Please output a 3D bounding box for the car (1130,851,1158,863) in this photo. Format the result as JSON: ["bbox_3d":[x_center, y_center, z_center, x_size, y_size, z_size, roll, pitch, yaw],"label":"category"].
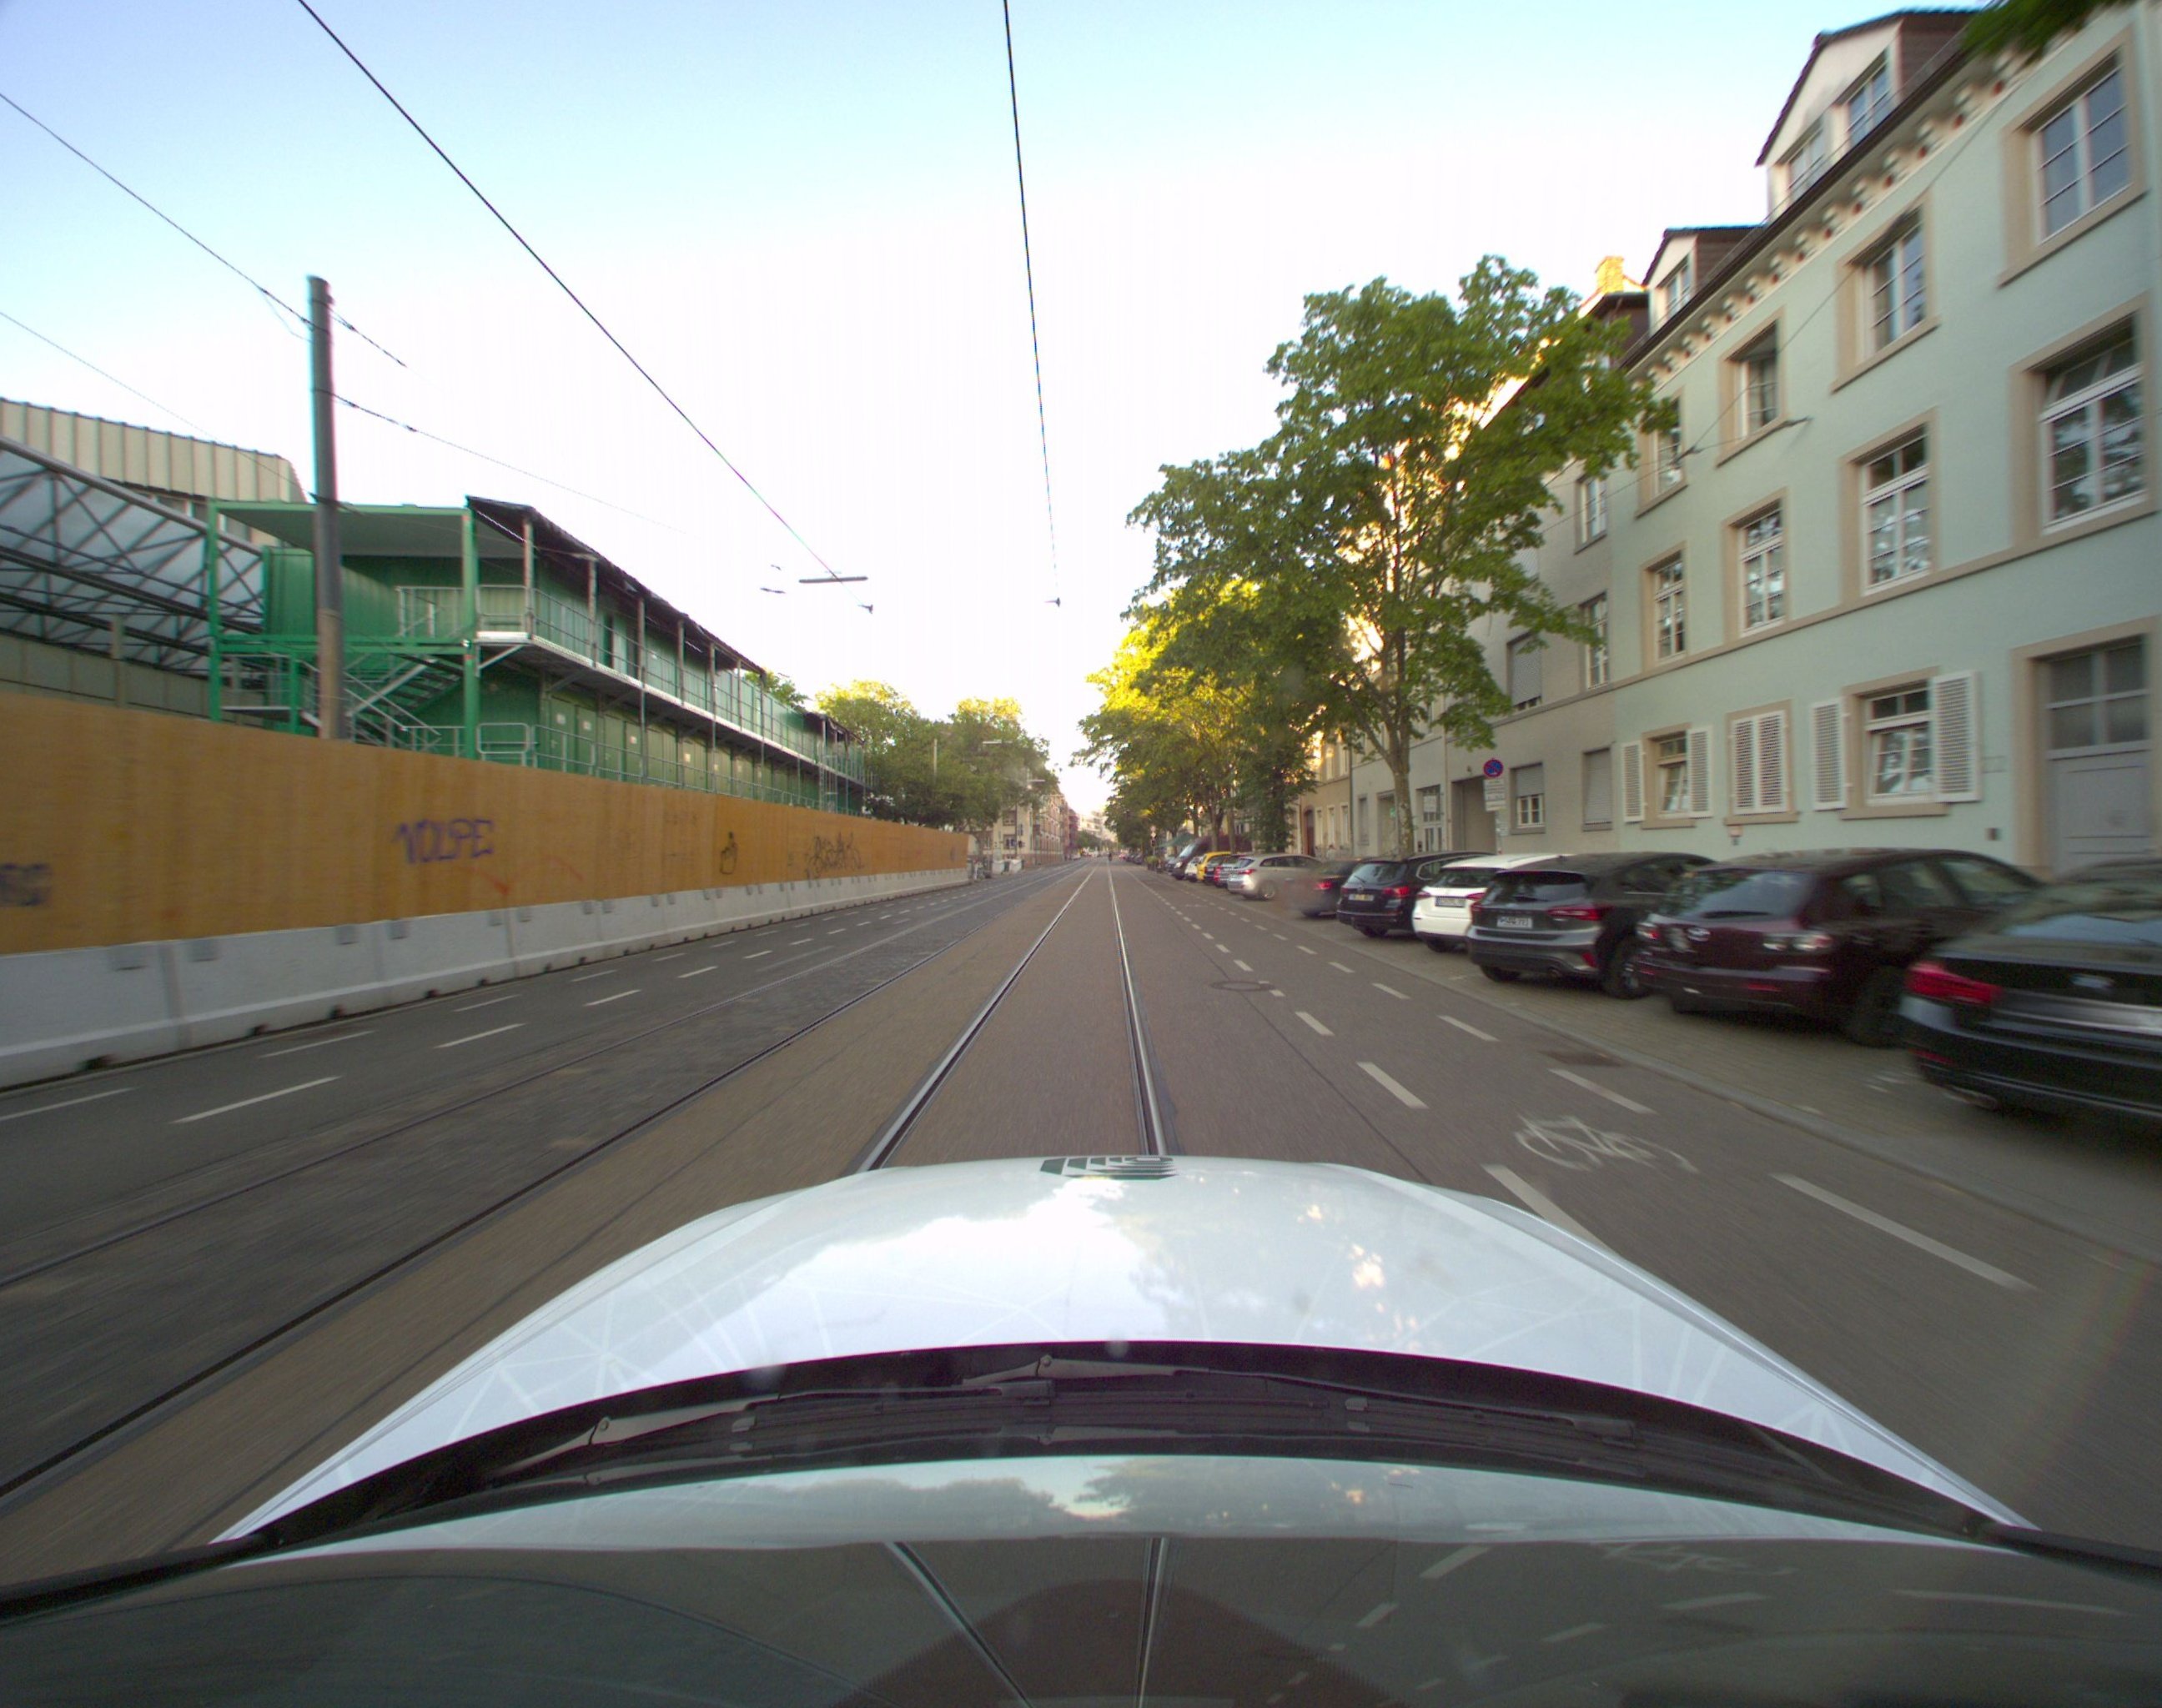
[{"bbox_3d":[8.604,0.422,111.561,3.872,1.592,1.862,0,0,2],"label":"car"}]

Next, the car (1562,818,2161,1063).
[{"bbox_3d":[6.655,0.587,7.103,3.956,1.470,1.991,-4,0,-15],"label":"car"}]

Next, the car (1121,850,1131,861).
[{"bbox_3d":[8.650,0.282,156.679,1.798,2.013,4.002,0,0,2],"label":"car"}]

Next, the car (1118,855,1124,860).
[{"bbox_3d":[12.092,1.029,247.280,1.956,1.718,4.002,0,0,2],"label":"car"}]

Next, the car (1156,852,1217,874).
[{"bbox_3d":[8.032,0.697,62.221,4.193,1.498,1.993,-2,-1,-23],"label":"car"}]

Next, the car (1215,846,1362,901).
[{"bbox_3d":[6.852,0.616,27.125,4.250,1.549,2.013,-3,0,-9],"label":"car"}]

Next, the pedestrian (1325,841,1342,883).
[{"bbox_3d":[11.047,0.333,35.635,0.563,1.814,0.607,-1,0,1],"label":"pedestrian"}]

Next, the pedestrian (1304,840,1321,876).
[{"bbox_3d":[10.284,0.191,36.175,0.536,1.568,0.814,-1,0,3],"label":"pedestrian"}]

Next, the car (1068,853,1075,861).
[{"bbox_3d":[-2.595,0.750,221.754,1.891,2.178,4.002,0,0,2],"label":"car"}]

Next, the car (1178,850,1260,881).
[{"bbox_3d":[7.525,0.649,44.397,3.967,1.486,1.906,-2,-1,-23],"label":"car"}]

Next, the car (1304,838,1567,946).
[{"bbox_3d":[6.361,0.606,14.673,4.134,1.470,2.000,-4,0,-23],"label":"car"}]

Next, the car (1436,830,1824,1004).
[{"bbox_3d":[6.448,0.608,9.563,4.135,1.470,1.809,-4,0,-24],"label":"car"}]

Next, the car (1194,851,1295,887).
[{"bbox_3d":[7.454,0.681,37.167,4.140,1.425,1.905,-2,-1,-24],"label":"car"}]

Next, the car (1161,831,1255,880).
[{"bbox_3d":[7.638,0.098,49.060,5.105,2.642,2.011,-3,-1,-15],"label":"car"}]

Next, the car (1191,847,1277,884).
[{"bbox_3d":[7.574,0.548,40.630,3.935,1.619,1.922,-3,-1,2],"label":"car"}]

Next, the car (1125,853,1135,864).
[{"bbox_3d":[8.990,0.847,149.958,1.715,2.013,4.002,0,0,2],"label":"car"}]

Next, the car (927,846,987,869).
[{"bbox_3d":[-11.299,0.299,74.293,5.001,1.945,2.231,1,0,6],"label":"car"}]

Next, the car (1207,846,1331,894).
[{"bbox_3d":[7.179,0.601,31.102,4.267,1.560,1.884,-2,-1,-22],"label":"car"}]

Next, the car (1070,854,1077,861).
[{"bbox_3d":[-2.153,0.998,227.302,1.891,2.013,4.002,0,0,2],"label":"car"}]

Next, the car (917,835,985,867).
[{"bbox_3d":[-10.876,-0.254,68.453,5.384,2.558,2.226,1,0,-1],"label":"car"}]

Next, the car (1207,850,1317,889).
[{"bbox_3d":[7.566,0.635,33.985,4.140,1.425,1.883,-2,-1,-24],"label":"car"}]

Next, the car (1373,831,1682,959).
[{"bbox_3d":[6.827,0.538,12.492,4.134,1.470,1.972,-4,0,-23],"label":"car"}]

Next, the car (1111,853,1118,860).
[{"bbox_3d":[9.739,0.848,236.347,1.891,2.013,4.002,0,0,2],"label":"car"}]

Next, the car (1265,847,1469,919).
[{"bbox_3d":[6.733,0.645,19.247,4.268,1.392,2.001,-2,0,-22],"label":"car"}]

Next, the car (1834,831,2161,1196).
[{"bbox_3d":[6.547,0.629,4.378,4.173,1.426,1.812,-4,0,-18],"label":"car"}]
